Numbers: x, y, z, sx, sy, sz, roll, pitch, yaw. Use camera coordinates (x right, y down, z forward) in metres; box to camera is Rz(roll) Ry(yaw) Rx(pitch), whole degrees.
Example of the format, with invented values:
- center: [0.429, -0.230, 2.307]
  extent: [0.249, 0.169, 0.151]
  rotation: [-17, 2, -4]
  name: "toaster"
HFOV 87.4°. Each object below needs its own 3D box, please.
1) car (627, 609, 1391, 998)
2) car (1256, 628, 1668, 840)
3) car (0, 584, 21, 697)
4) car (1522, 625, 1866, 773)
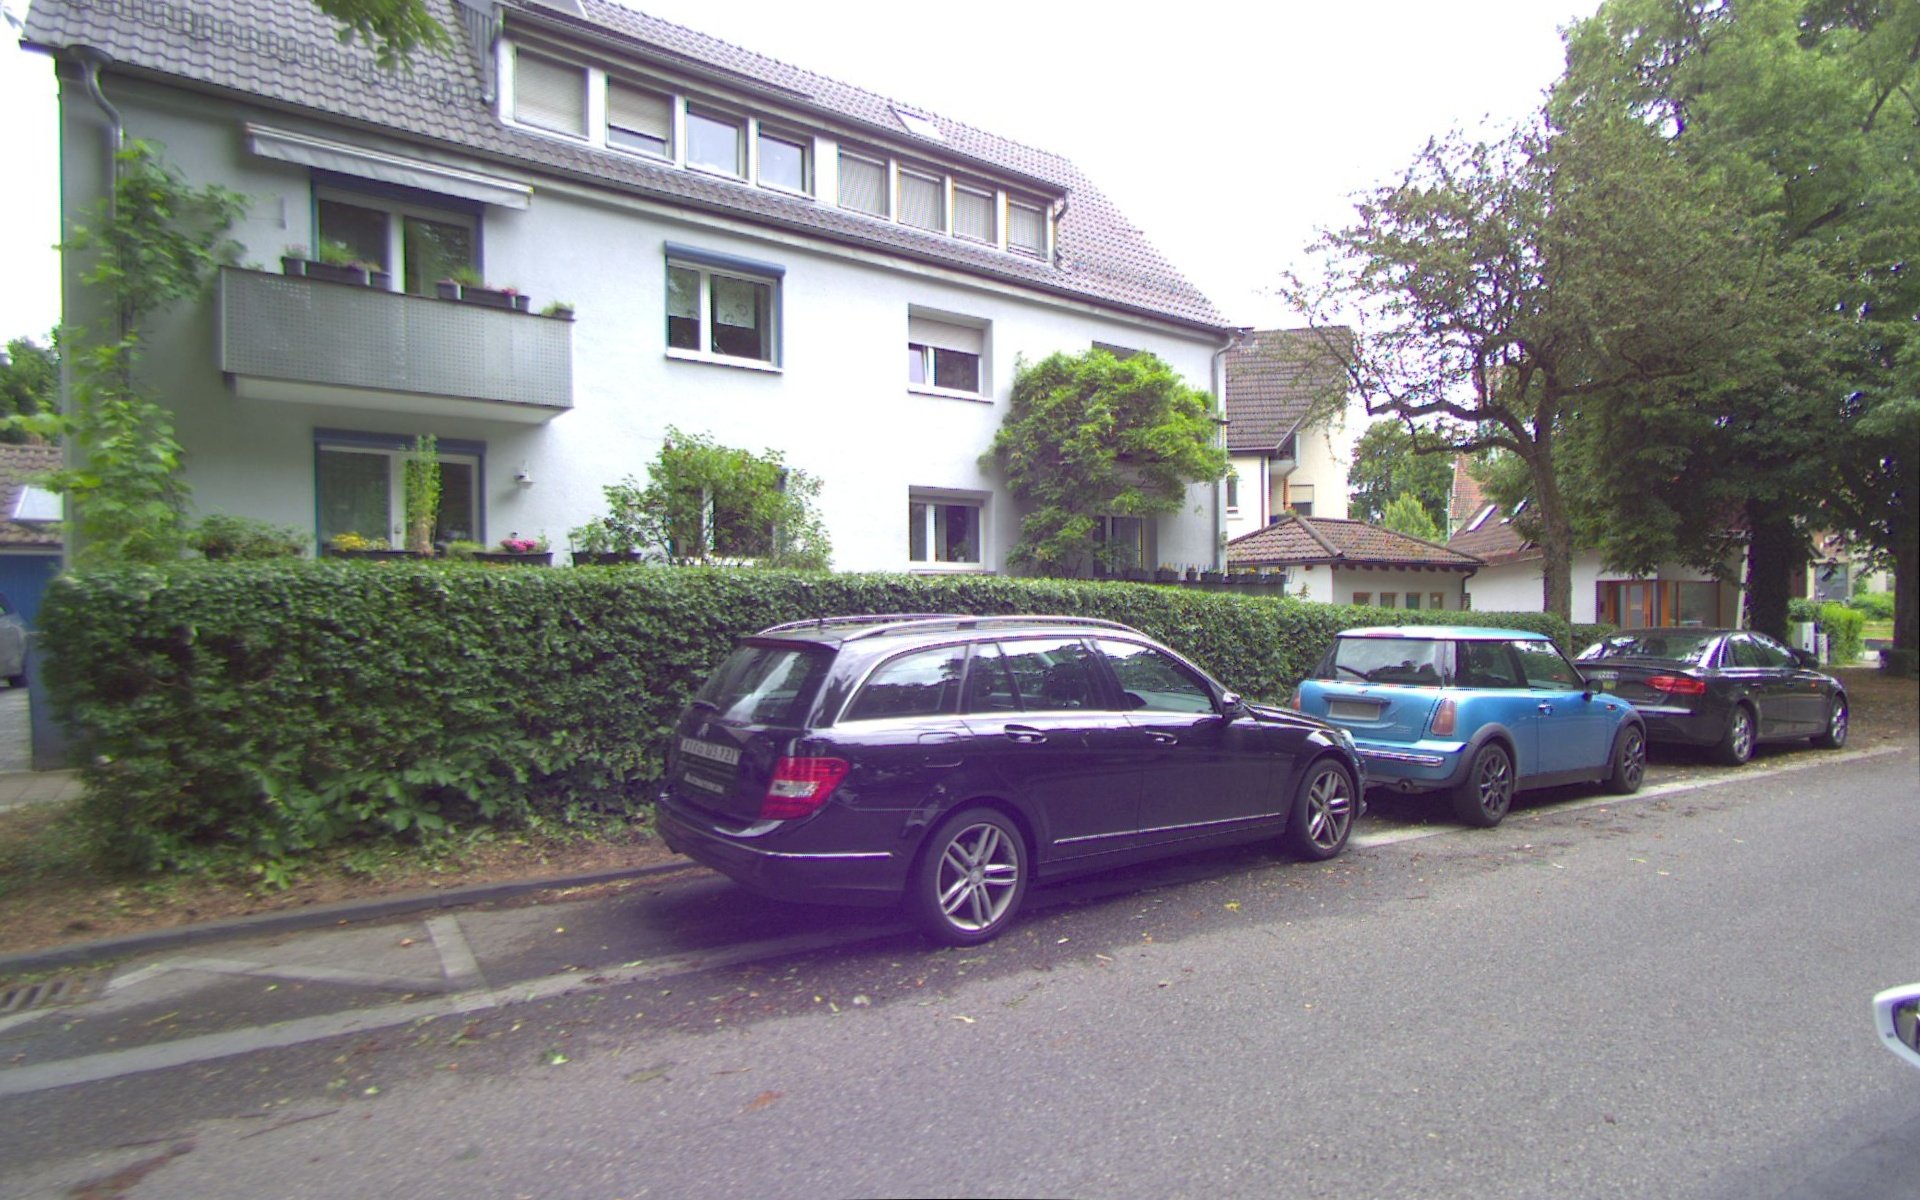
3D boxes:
- center: [0.510, 0.828, 5.908]
  extent: [4.376, 1.492, 1.782]
  rotation: [1, -2, -37]
  name: "car"
- center: [4.342, 0.948, 8.523]
  extent: [3.671, 1.410, 1.653]
  rotation: [1, -2, -36]
  name: "car"
- center: [-14.161, 0.563, 13.630]
  extent: [1.785, 1.530, 3.955]
  rotation: [0, -2, -39]
  name: "car"
- center: [8.734, 1.017, 11.830]
  extent: [4.595, 1.429, 1.784]
  rotation: [1, -2, -33]
  name: "car"
